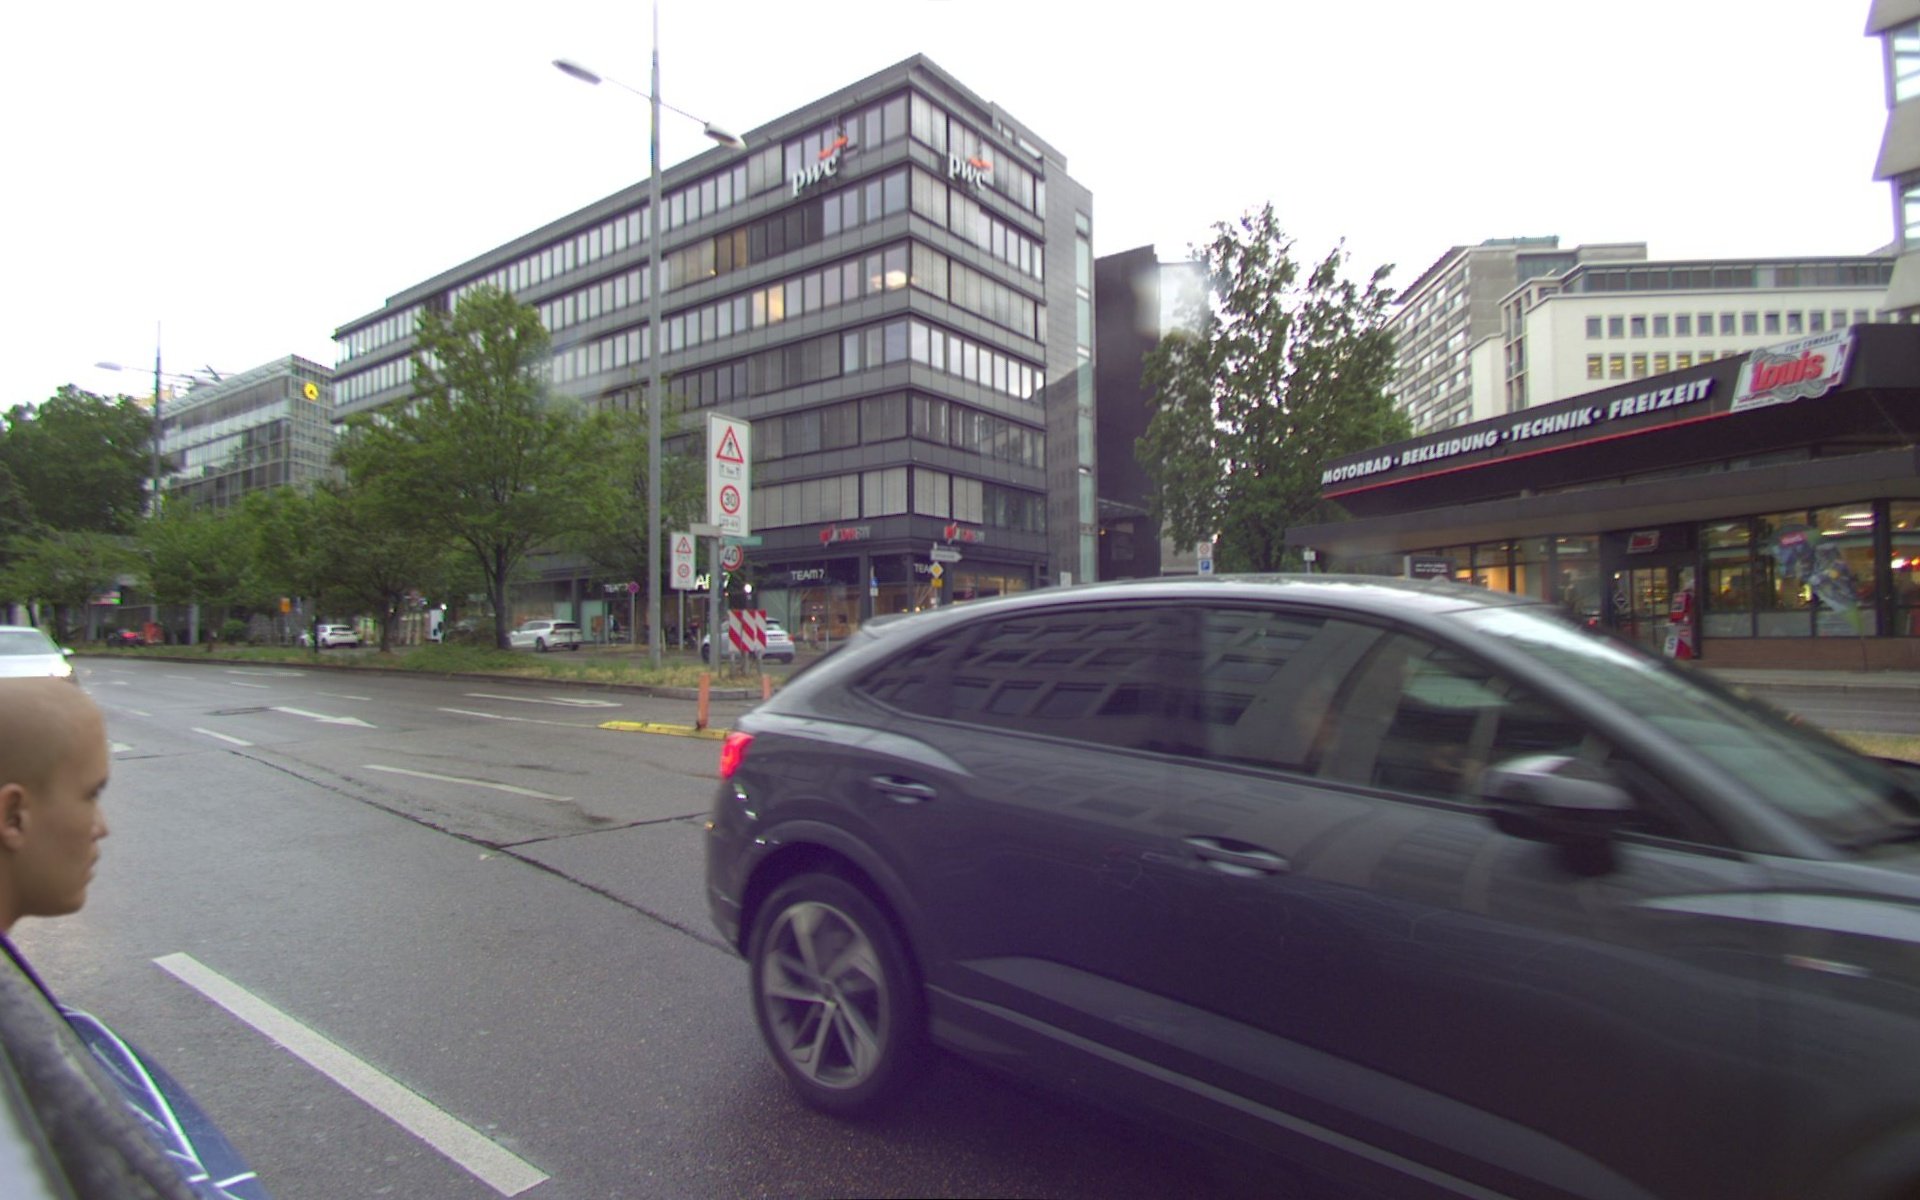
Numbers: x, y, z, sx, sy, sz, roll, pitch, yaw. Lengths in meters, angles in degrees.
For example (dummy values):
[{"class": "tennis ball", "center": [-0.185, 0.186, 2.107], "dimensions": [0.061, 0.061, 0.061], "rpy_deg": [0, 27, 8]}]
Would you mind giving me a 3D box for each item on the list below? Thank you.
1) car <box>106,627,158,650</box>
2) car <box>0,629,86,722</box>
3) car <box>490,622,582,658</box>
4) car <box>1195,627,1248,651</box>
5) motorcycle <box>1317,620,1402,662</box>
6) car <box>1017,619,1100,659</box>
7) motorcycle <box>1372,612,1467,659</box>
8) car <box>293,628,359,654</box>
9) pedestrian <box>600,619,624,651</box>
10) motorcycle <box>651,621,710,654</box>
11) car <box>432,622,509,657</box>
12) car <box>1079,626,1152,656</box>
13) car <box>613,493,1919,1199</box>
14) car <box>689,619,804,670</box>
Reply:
[{"class": "car", "center": [-58.115, 2.712, 70.992], "dimensions": [4.478, 1.556, 1.974], "rpy_deg": [-2, -2, 40]}, {"class": "car", "center": [-16.699, 1.258, 17.447], "dimensions": [3.866, 1.454, 1.830], "rpy_deg": [-2, -1, 39]}, {"class": "car", "center": [-20.010, 1.873, 47.650], "dimensions": [4.764, 1.496, 1.792], "rpy_deg": [-2, 2, 37]}, {"class": "car", "center": [15.934, 2.344, 61.534], "dimensions": [1.843, 1.298, 3.951], "rpy_deg": [-1, -1, 36]}, {"class": "motorcycle", "center": [13.560, 1.390, 34.364], "dimensions": [2.773, 1.343, 0.725], "rpy_deg": [-1, -1, -15]}, {"class": "car", "center": [4.494, 1.719, 45.634], "dimensions": [1.996, 1.652, 3.951], "rpy_deg": [-1, -1, 36]}, {"class": "motorcycle", "center": [14.278, 1.091, 31.437], "dimensions": [2.843, 1.384, 0.806], "rpy_deg": [-1, -1, -16]}, {"class": "car", "center": [-38.260, 2.490, 61.041], "dimensions": [4.298, 1.455, 1.794], "rpy_deg": [-2, -1, 34]}, {"class": "pedestrian", "center": [-18.001, 1.817, 52.333], "dimensions": [0.964, 1.650, 0.776], "rpy_deg": [-2, -2, 36]}, {"class": "motorcycle", "center": [-12.411, 1.656, 44.987], "dimensions": [2.344, 1.404, 0.857], "rpy_deg": [-1, 2, 10]}, {"class": "car", "center": [-24.878, 1.986, 51.383], "dimensions": [4.304, 1.673, 1.791], "rpy_deg": [-2, -1, 38]}, {"class": "car", "center": [7.607, 1.948, 49.251], "dimensions": [1.844, 1.298, 3.950], "rpy_deg": [-1, -1, 37]}, {"class": "car", "center": [1.184, 0.615, 2.580], "dimensions": [4.281, 1.446, 1.918], "rpy_deg": [-2, -2, 38]}, {"class": "car", "center": [-7.078, 1.443, 33.410], "dimensions": [3.687, 1.585, 1.766], "rpy_deg": [-2, -2, 39]}]
